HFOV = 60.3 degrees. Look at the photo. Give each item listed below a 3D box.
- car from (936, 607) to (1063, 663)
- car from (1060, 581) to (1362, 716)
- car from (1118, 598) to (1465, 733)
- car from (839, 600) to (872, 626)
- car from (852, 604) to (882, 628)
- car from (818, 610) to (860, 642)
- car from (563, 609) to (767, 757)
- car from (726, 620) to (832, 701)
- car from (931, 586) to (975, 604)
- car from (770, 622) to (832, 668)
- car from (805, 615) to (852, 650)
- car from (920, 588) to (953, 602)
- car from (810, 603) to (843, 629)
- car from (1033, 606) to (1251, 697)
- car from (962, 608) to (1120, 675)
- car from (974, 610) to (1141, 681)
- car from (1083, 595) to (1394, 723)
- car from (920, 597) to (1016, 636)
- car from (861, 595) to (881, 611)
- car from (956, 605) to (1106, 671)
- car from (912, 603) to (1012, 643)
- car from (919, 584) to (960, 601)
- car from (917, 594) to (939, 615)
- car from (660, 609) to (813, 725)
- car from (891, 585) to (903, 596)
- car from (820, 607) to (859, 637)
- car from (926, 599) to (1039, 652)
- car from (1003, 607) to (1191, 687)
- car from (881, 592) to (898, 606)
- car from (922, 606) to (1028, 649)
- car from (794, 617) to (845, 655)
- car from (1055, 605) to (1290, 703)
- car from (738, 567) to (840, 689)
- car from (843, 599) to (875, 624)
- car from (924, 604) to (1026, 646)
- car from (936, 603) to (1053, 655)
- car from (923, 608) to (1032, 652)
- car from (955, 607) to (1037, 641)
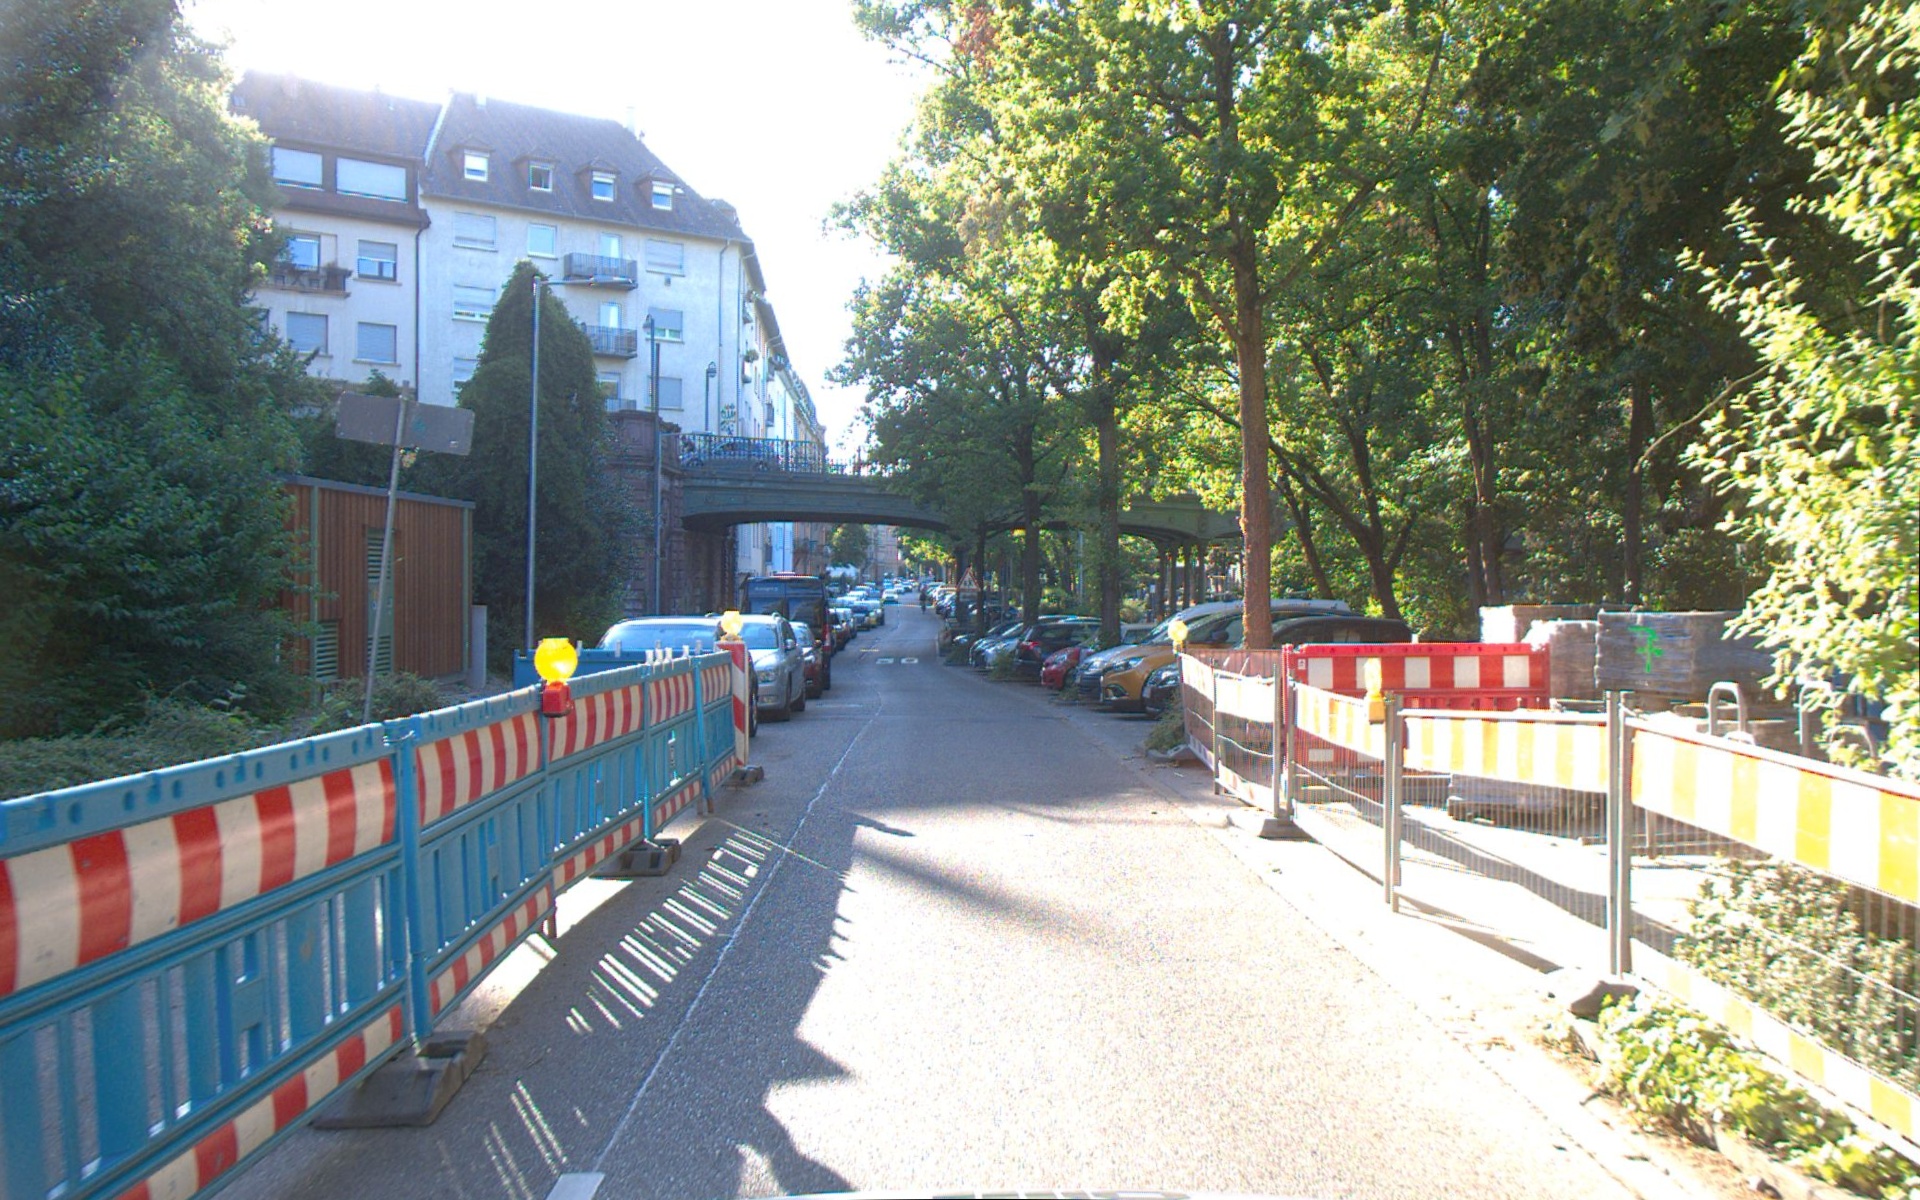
[{"bbox_3d":[1.371,1.264,58.704,4.300,1.816,1.915,2,-2,-4],"label":"car"},{"bbox_3d":[4.138,0.818,27.711,4.649,2.032,1.914,2,-2,-5],"label":"car"},{"bbox_3d":[4.483,0.894,22.751,4.302,1.634,1.914,2,-2,-5],"label":"car"},{"bbox_3d":[-5.975,0.777,95.057,1.776,1.422,3.973,-1,-1,-2],"label":"car"},{"bbox_3d":[-5.902,1.031,105.011,1.776,1.422,3.973,-1,-1,-2],"label":"car"},{"bbox_3d":[-5.552,1.222,76.400,1.776,1.422,3.973,-1,-1,-2],"label":"car"},{"bbox_3d":[-3.175,0.859,18.524,1.681,1.443,4.104,-1,-1,-2],"label":"car"},{"bbox_3d":[-3.533,1.155,32.930,1.776,1.478,4.348,-1,-1,-2],"label":"car"},{"bbox_3d":[-0.714,-0.511,166.475,4.298,1.638,1.780,2,-2,-2],"label":"car"},{"bbox_3d":[-5.206,1.455,54.409,1.776,1.422,3.973,-1,-1,-2],"label":"car"},{"bbox_3d":[-5.561,1.364,70.322,1.776,1.422,3.973,-1,-1,-2],"label":"car"},{"bbox_3d":[-3.113,-0.708,216.750,4.298,1.638,1.780,2,-2,-2],"label":"car"},{"bbox_3d":[-8.009,0.997,99.645,1.776,1.527,3.973,-1,-1,-2],"label":"car"},{"bbox_3d":[3.811,1.092,35.112,4.300,1.732,1.915,2,-2,-4],"label":"car"},{"bbox_3d":[2.284,1.203,47.433,4.300,1.732,1.915,2,-2,-4],"label":"car"},{"bbox_3d":[2.602,1.244,44.787,4.300,1.732,1.915,2,-2,-4],"label":"car"},{"bbox_3d":[4.145,0.890,25.062,4.300,1.732,1.915,2,-2,-4],"label":"car"},{"bbox_3d":[0.372,0.762,76.664,4.300,1.638,1.779,2,-2,-4],"label":"car"},{"bbox_3d":[-8.316,0.255,154.984,1.776,1.422,3.973,-1,-1,-2],"label":"car"},{"bbox_3d":[2.108,1.159,50.025,4.300,1.816,1.915,2,-2,-4],"label":"car"},{"bbox_3d":[0.068,1.033,74.197,4.300,1.638,1.779,2,-2,-4],"label":"car"},{"bbox_3d":[-2.241,-0.838,180.182,4.298,1.638,1.780,2,-2,-2],"label":"car"},{"bbox_3d":[-2.719,0.378,139.177,1.739,1.638,4.400,2,-2,-1],"label":"car"},{"bbox_3d":[-3.190,0.911,24.354,1.776,1.465,4.348,2,0,-2],"label":"car"},{"bbox_3d":[-9.101,-1.307,238.470,1.776,1.422,4.609,-1,-1,-2],"label":"car"},{"bbox_3d":[-5.972,1.092,82.319,1.776,1.422,3.973,-1,-1,-2],"label":"car"},{"bbox_3d":[0.882,1.021,65.558,4.300,1.894,1.915,2,-2,-4],"label":"car"},{"bbox_3d":[3.289,1.146,40.188,4.300,1.732,1.915,2,-2,-4],"label":"car"},{"bbox_3d":[-7.465,-0.096,175.596,1.776,1.422,3.973,-1,-1,-2],"label":"car"},{"bbox_3d":[0.625,1.185,69.589,4.300,1.638,1.779,2,-2,-4],"label":"car"},{"bbox_3d":[-5.441,1.408,64.531,1.776,1.422,3.973,-1,-1,-2],"label":"car"},{"bbox_3d":[4.149,1.066,32.745,4.300,1.732,1.915,2,-2,-4],"label":"car"},{"bbox_3d":[-3.857,0.656,38.145,2.007,2.541,5.693,2,-1,-3],"label":"car"},{"bbox_3d":[-6.090,0.694,100.165,1.776,1.422,3.973,-1,-1,-2],"label":"car"},{"bbox_3d":[0.622,1.112,71.766,4.300,1.638,1.779,2,-2,-4],"label":"car"},{"bbox_3d":[1.308,1.131,63.401,4.300,1.816,1.915,2,-2,-4],"label":"car"},{"bbox_3d":[0.701,1.232,67.573,4.300,1.638,1.779,2,-2,-4],"label":"car"},{"bbox_3d":[1.922,1.293,88.927,4.298,1.638,1.780,2,-2,-2],"label":"car"}]
